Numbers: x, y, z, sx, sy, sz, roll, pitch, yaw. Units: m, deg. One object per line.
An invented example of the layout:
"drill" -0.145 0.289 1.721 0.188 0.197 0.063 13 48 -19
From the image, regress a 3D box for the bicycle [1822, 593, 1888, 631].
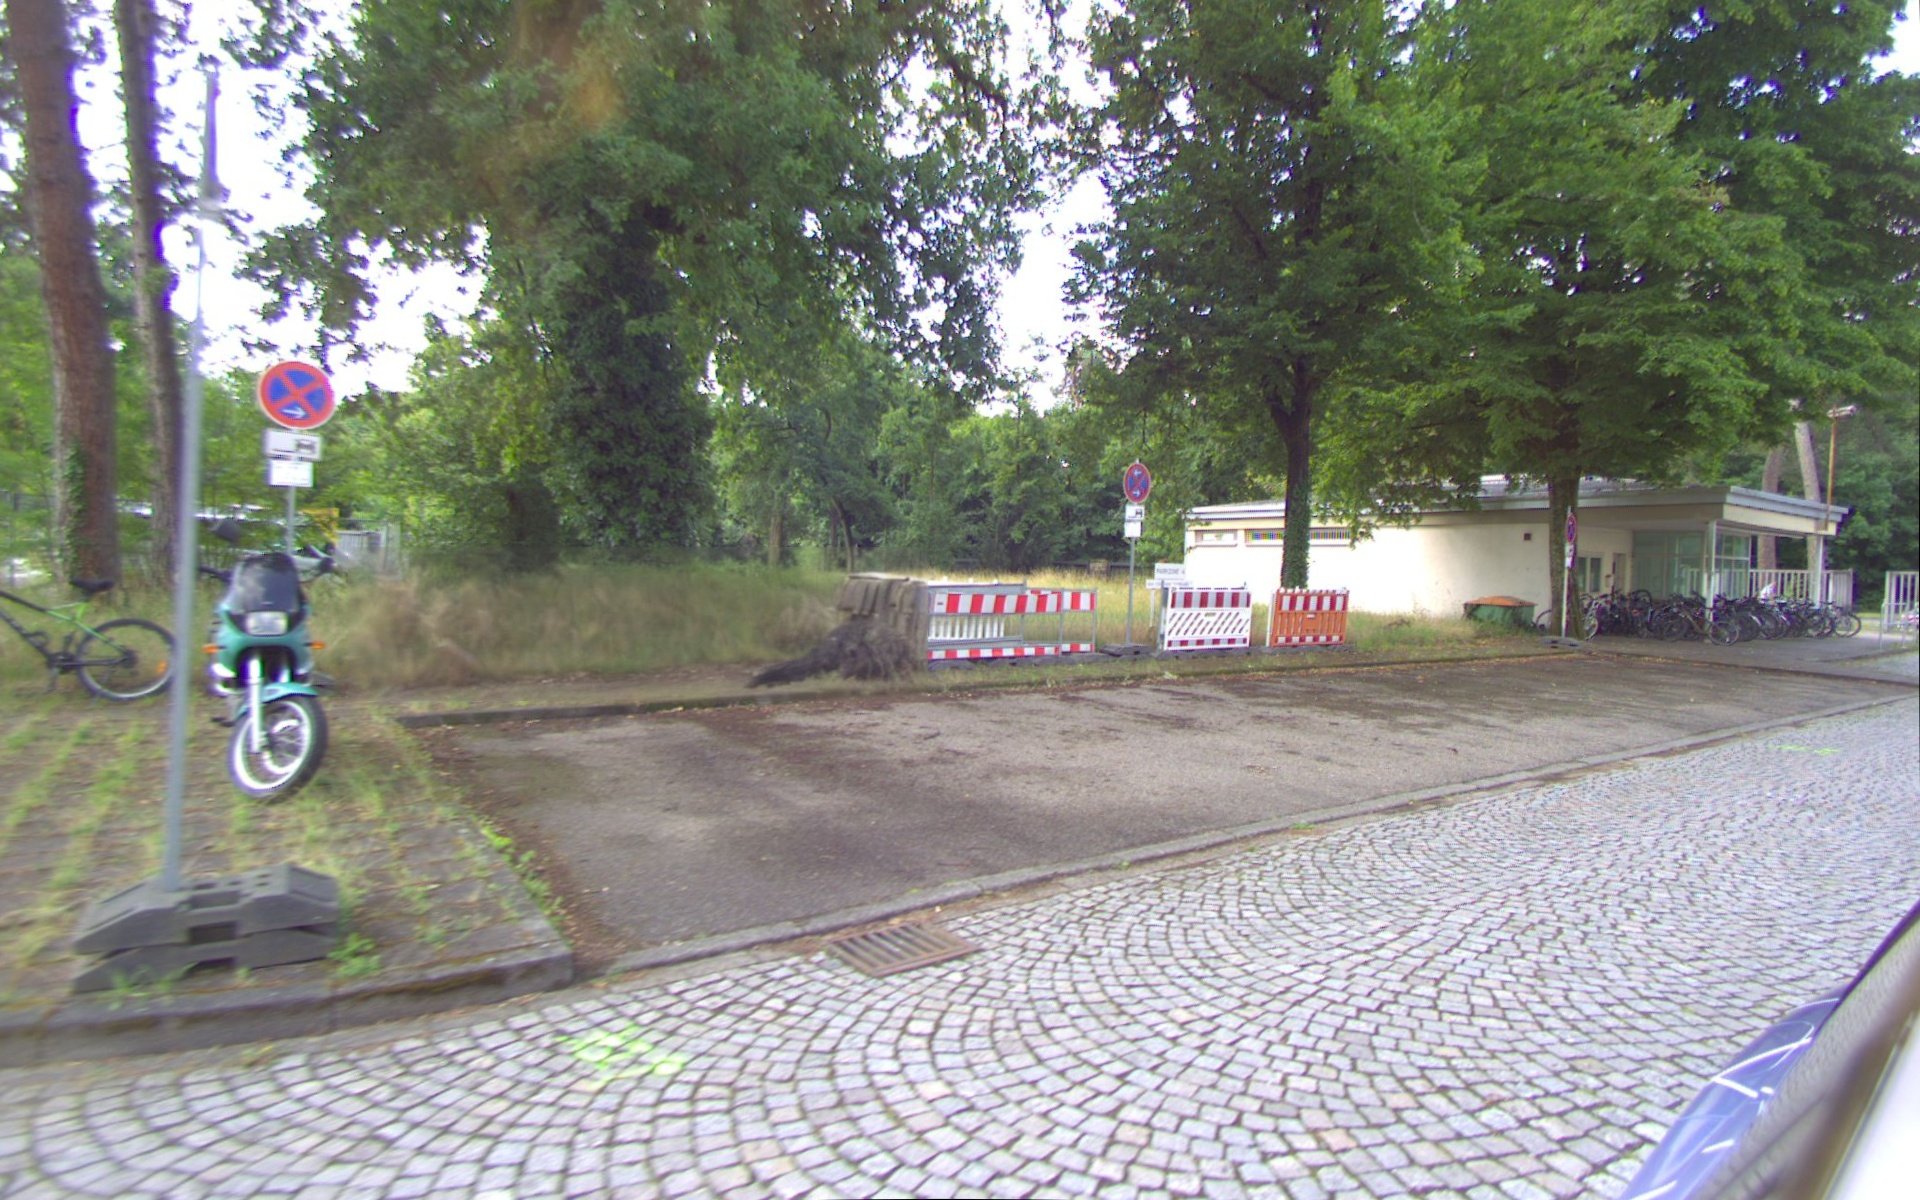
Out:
"bicycle" 26.464 0.348 29.947 1.393 1.059 0.336 2 1 28

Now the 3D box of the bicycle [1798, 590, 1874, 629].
"bicycle" 26.952 0.287 31.156 1.712 1.146 0.473 1 1 10

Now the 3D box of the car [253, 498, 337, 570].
"car" -22.316 -2.087 33.857 2.170 2.122 6.163 0 1 -35

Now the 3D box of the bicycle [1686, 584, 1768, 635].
"bicycle" 20.064 0.227 26.487 1.629 1.204 0.466 5 4 41

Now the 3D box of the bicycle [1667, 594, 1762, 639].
"bicycle" 19.022 0.397 25.546 1.728 0.988 0.753 4 3 24

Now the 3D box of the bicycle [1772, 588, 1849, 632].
"bicycle" 24.707 0.285 29.418 0.350 1.154 1.615 0 4 -43

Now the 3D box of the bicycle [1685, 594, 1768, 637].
"bicycle" 19.666 0.386 25.984 1.618 0.988 0.320 4 3 24

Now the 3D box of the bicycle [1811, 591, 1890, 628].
"bicycle" 26.818 0.278 30.487 1.725 1.059 0.452 2 1 16

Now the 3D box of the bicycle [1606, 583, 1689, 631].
"bicycle" 19.042 0.179 28.051 0.597 1.179 1.745 0 4 -40

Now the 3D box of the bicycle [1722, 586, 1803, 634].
"bicycle" 21.859 0.255 27.584 1.629 1.204 0.491 5 4 42

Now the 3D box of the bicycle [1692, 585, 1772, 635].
"bicycle" 20.574 0.262 26.989 1.629 1.204 0.413 5 4 42

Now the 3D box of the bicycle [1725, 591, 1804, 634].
"bicycle" 22.244 0.327 28.007 1.628 1.062 0.329 5 4 40

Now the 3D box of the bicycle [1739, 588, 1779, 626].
"bicycle" 24.209 0.203 30.649 1.798 1.089 0.491 0 3 -38

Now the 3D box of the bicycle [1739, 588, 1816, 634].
"bicycle" 22.982 0.296 28.463 0.320 1.154 1.593 0 4 -43

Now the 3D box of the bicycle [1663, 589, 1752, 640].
"bicycle" 18.382 0.339 24.909 1.675 1.121 0.333 5 4 41

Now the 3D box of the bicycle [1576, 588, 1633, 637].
"bicycle" 15.631 0.296 24.520 1.605 1.130 0.599 0 3 -38

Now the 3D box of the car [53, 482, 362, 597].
"car" -19.250 -1.445 26.408 1.978 2.610 6.371 0 1 24

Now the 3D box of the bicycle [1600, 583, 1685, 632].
"bicycle" 18.427 0.190 27.361 0.597 1.179 1.745 0 4 -40

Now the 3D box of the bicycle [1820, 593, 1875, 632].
"bicycle" 26.042 0.355 29.709 1.145 1.076 0.284 2 2 33

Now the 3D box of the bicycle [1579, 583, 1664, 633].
"bicycle" 17.541 0.196 26.865 0.597 1.179 1.745 0 4 -40

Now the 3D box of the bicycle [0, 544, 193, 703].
"bicycle" -7.226 0.170 7.943 1.868 1.183 0.645 1 2 -35

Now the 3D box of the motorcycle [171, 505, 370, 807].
"motorcycle" -4.253 0.222 6.147 0.744 1.503 2.281 0 3 -41

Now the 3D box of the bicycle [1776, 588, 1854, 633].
"bicycle" 24.492 0.286 29.012 0.320 1.154 1.615 0 4 -43

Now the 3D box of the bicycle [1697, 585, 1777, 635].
"bicycle" 21.024 0.256 27.391 1.629 1.204 0.413 5 4 42

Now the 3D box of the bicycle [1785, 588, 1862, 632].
"bicycle" 25.316 0.287 29.693 0.350 1.154 1.615 0 4 -43

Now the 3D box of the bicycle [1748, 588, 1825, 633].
"bicycle" 23.530 0.291 28.828 0.320 1.154 1.615 0 4 -43

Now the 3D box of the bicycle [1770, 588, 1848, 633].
"bicycle" 24.157 0.288 28.830 0.320 1.154 1.615 0 4 -43

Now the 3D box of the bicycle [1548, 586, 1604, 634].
"bicycle" 15.240 0.235 25.012 1.605 1.130 0.599 0 3 -38

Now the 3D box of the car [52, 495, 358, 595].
"car" -15.639 -1.064 21.304 1.980 1.848 4.830 1 1 26

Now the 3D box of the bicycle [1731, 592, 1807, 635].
"bicycle" 22.624 0.362 28.319 0.320 1.062 1.593 0 4 -43
